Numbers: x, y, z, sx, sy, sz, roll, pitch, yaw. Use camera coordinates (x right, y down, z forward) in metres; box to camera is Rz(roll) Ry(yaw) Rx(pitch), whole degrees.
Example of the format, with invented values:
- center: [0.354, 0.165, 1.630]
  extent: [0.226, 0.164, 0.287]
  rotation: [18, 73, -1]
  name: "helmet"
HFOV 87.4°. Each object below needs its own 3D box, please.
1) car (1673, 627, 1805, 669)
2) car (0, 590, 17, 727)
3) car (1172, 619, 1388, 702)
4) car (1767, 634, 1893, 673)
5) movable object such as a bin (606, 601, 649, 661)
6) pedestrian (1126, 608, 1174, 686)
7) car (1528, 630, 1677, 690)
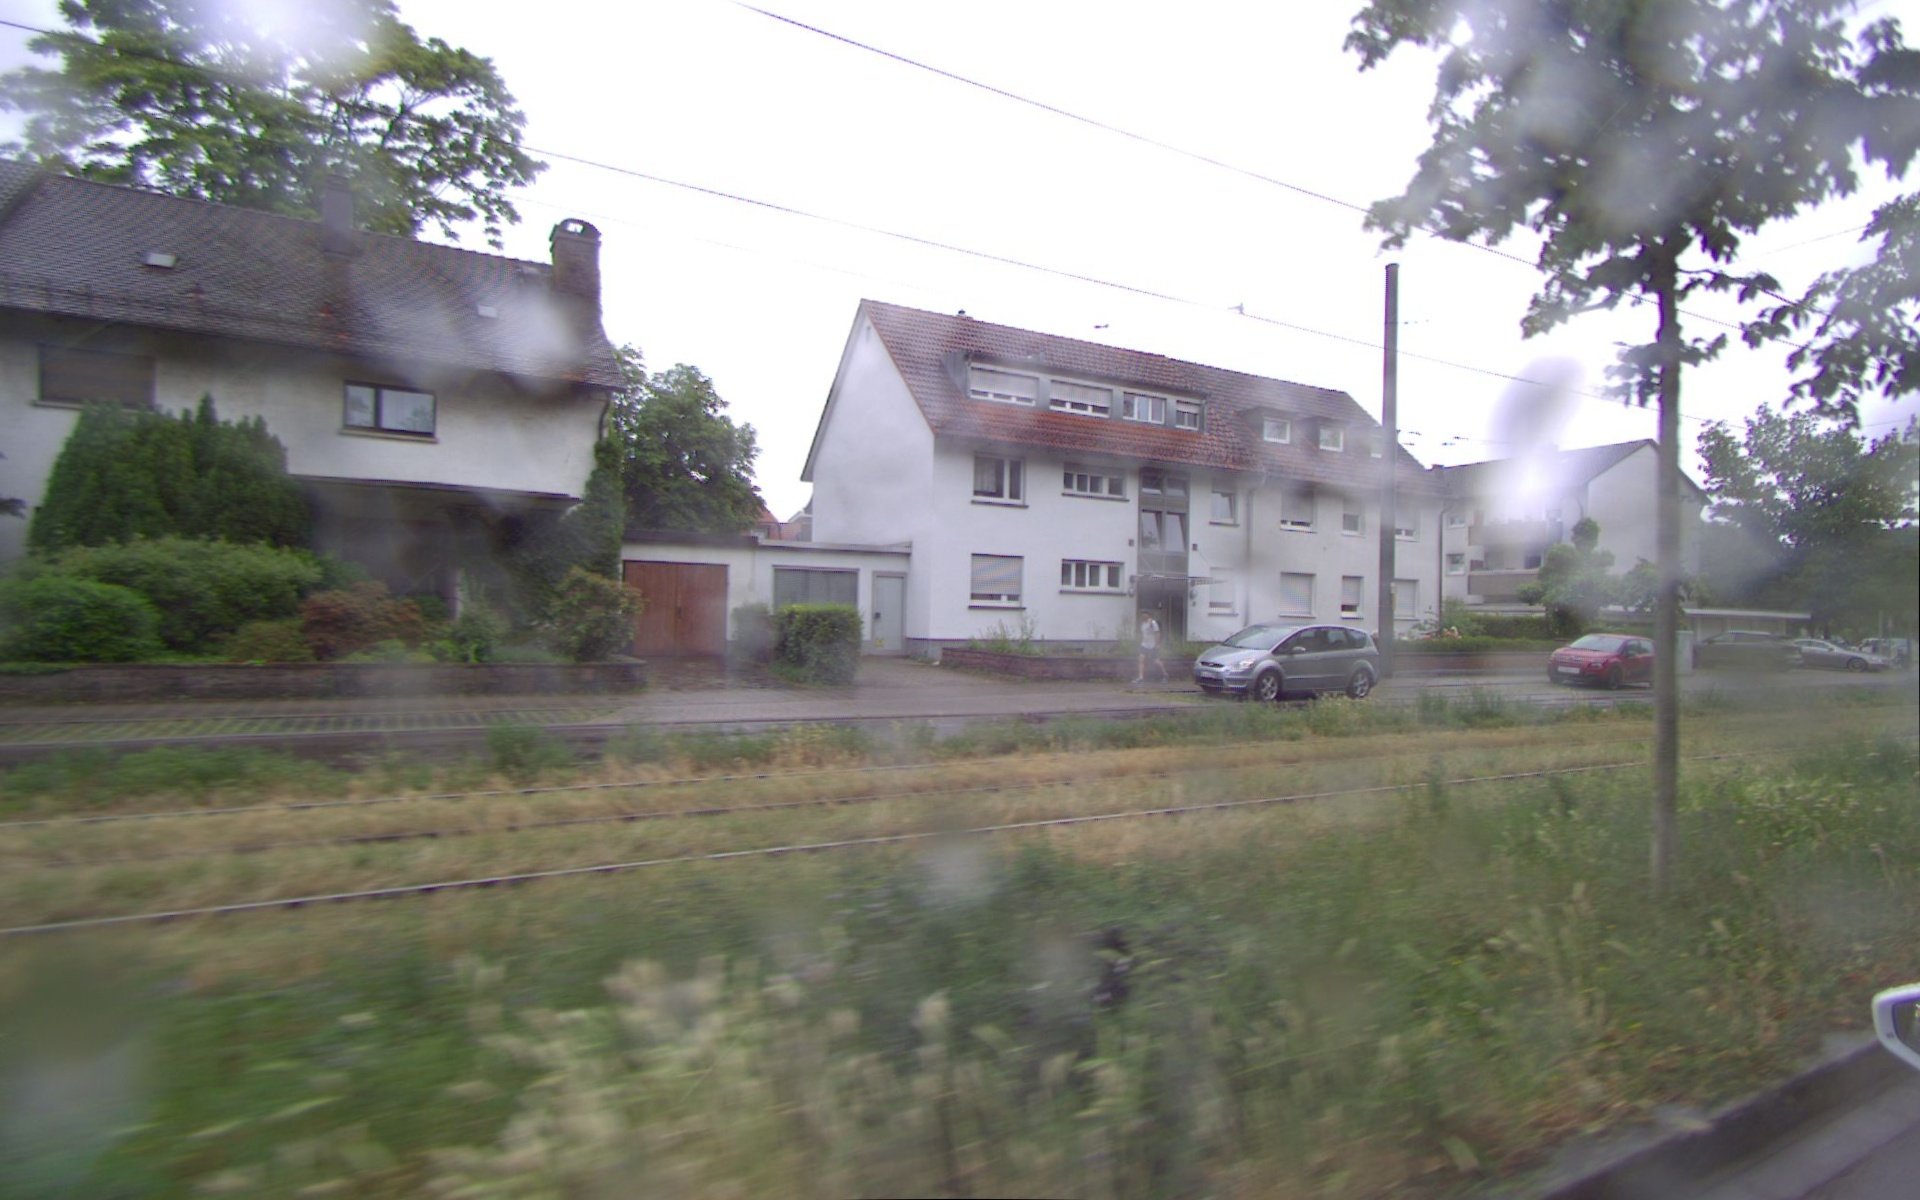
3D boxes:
- center: [32.486, 1.987, 42.002]
  extent: [1.978, 1.638, 3.965]
  rotation: [2, -2, -32]
  name: "car"
- center: [-13.160, 0.680, 10.571]
  extent: [4.362, 1.635, 1.983]
  rotation: [1, 1, -31]
  name: "car"
- center: [7.074, 1.311, 22.154]
  extent: [4.461, 1.602, 1.985]
  rotation: [2, 1, -29]
  name: "car"
- center: [39.635, 2.426, 45.856]
  extent: [1.978, 1.638, 3.965]
  rotation: [2, -2, -32]
  name: "car"
- center: [-7.710, 0.719, 23.301]
  extent: [0.762, 1.311, 0.806]
  rotation: [2, 1, -30]
  name: "movable object such as a bin"
- center: [4.459, 1.098, 23.635]
  extent: [0.844, 1.778, 0.698]
  rotation: [2, -1, -30]
  name: "pedestrian"
- center: [18.703, 1.690, 29.194]
  extent: [4.157, 1.508, 1.983]
  rotation: [1, 1, -31]
  name: "car"
